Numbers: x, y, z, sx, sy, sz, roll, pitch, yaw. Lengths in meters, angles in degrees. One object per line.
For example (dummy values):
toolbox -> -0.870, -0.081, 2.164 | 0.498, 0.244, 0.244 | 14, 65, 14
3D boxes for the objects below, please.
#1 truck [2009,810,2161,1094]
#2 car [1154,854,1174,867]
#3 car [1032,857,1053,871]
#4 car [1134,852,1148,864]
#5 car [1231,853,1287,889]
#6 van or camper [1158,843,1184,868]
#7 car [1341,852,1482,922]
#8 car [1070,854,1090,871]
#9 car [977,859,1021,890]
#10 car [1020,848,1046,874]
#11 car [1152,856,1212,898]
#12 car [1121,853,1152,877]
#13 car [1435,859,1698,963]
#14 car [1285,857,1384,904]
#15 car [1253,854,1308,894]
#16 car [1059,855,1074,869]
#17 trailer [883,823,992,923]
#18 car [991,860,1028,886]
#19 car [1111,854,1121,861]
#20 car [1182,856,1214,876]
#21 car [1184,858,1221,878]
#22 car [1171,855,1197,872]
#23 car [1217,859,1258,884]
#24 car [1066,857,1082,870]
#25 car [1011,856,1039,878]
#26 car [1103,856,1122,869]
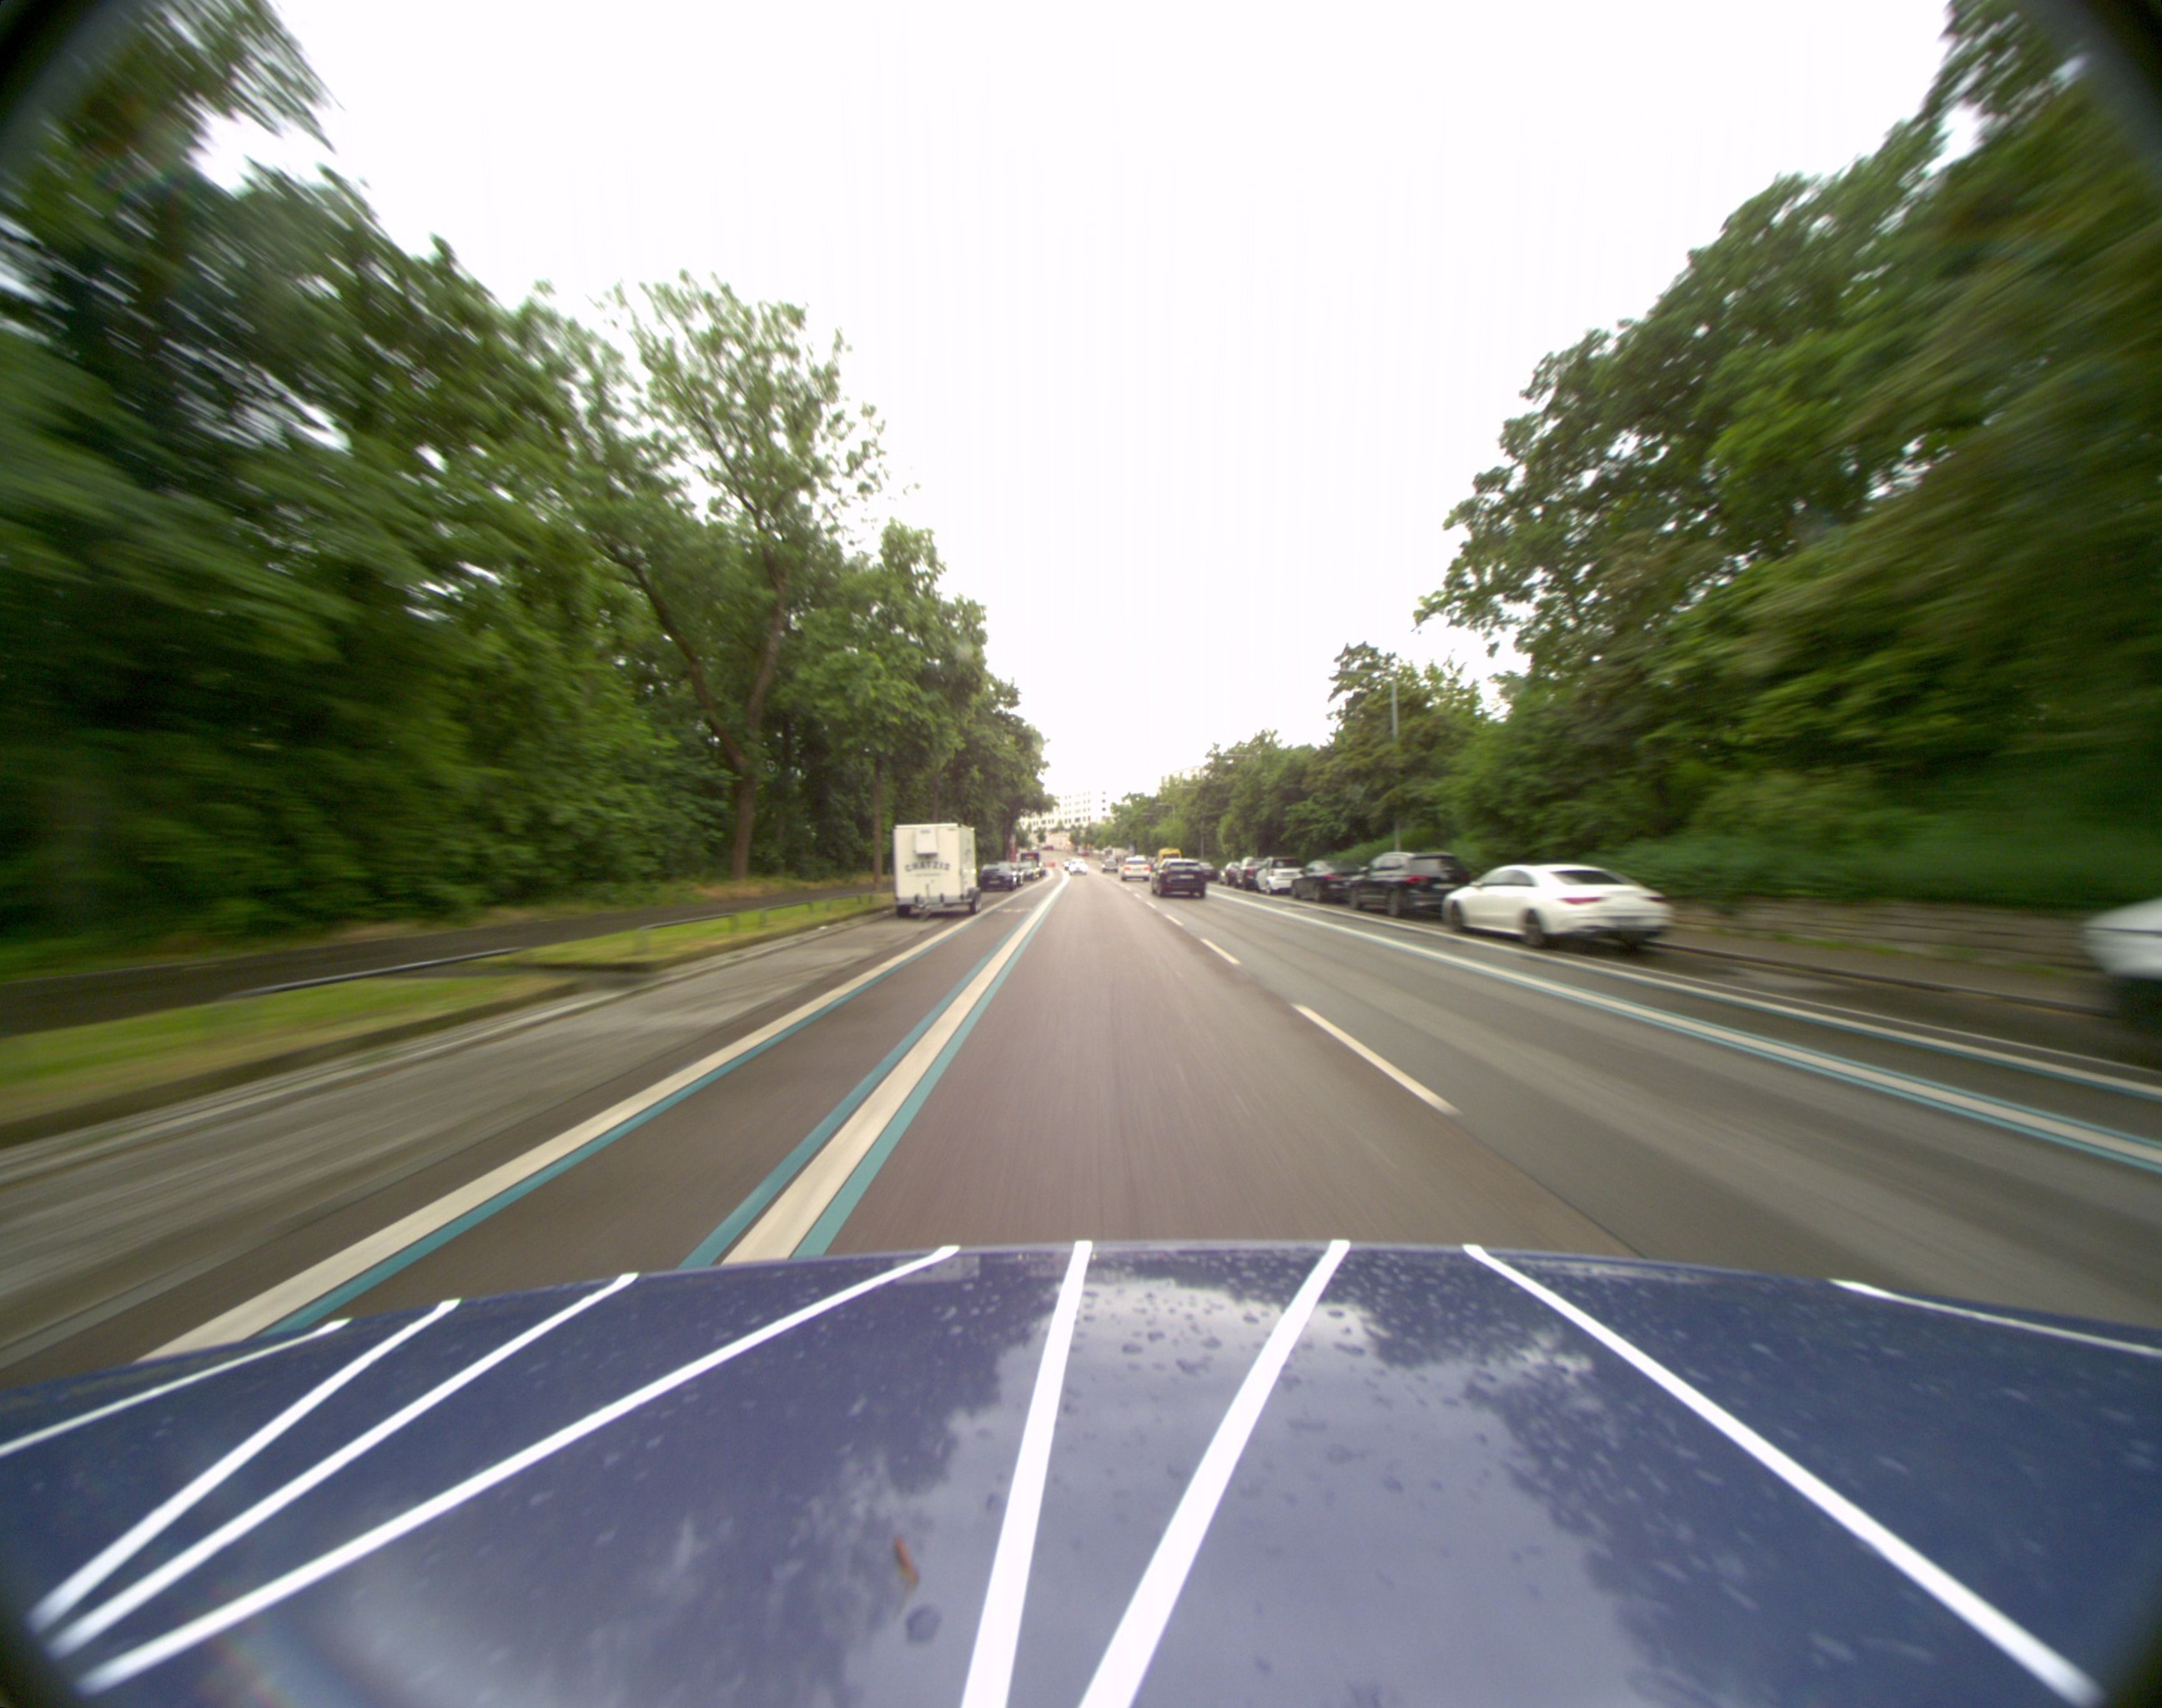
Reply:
truck -> 8.711, 0.675, 3.659 | 2.099, 2.002, 5.158 | -1, 0, -2
car -> 9.208, 0.711, 84.791 | 1.825, 1.427, 3.558 | -1, 0, 0
car -> -3.981, 1.018, 79.001 | 1.862, 1.361, 3.999 | -2, 1, 0
car -> 9.030, 0.576, 113.702 | 1.825, 1.650, 3.558 | -1, 0, 0
car -> 8.483, 0.773, 36.454 | 1.819, 1.579, 3.992 | -1, 0, 1
van or camper -> 9.200, 0.179, 77.869 | 2.165, 2.437, 4.436 | -1, 0, 0
car -> 8.694, 0.802, 20.481 | 1.740, 1.651, 4.673 | -1, 0, -1
car -> -0.087, 0.823, 77.528 | 1.998, 1.589, 4.000 | -2, 0, 0
car -> -4.111, 1.012, 38.821 | 1.804, 1.455, 4.000 | -1, 0, 0
car -> -4.366, 0.588, 69.368 | 1.998, 2.231, 3.999 | -2, 1, 0
car -> 3.888, 0.828, 29.860 | 1.769, 1.449, 4.496 | 1, 1, 1
car -> 3.743, 0.744, 52.065 | 1.790, 1.570, 4.258 | 0, 0, 0
car -> 8.495, 0.889, 13.953 | 1.811, 1.489, 4.752 | 0, 1, 0
car -> 8.750, 0.869, 26.651 | 1.901, 1.466, 4.553 | -1, 0, -1
car -> 8.402, 0.810, 32.177 | 1.527, 1.584, 2.860 | 0, 0, -1
car -> -1.818, 0.984, 99.093 | 1.850, 1.719, 3.730 | -1, 0, 0
trailer -> -3.958, 0.492, 21.701 | 2.284, 2.550, 4.000 | -1, 0, 0
car -> -4.171, 1.087, 44.879 | 1.804, 1.370, 4.000 | -1, 0, 0
car -> 7.132, 0.646, 154.323 | 1.825, 1.427, 3.558 | 1, 0, 0
car -> 8.765, 0.853, 57.056 | 1.825, 1.427, 3.773 | -1, 0, 0
car -> 8.304, 0.915, 52.220 | 1.825, 1.285, 4.206 | -1, 0, 0
car -> 9.177, 0.801, 67.761 | 1.825, 1.470, 3.558 | 0, 0, 0
car -> 8.556, 0.921, 41.766 | 1.514, 1.285, 3.597 | -1, 0, 0
car -> -0.933, 1.180, 98.556 | 1.998, 1.629, 4.000 | 0, 1, 1
car -> -4.173, 0.950, 57.227 | 1.804, 1.589, 4.000 | -1, 0, 0
car -> 3.483, 0.919, 84.663 | 1.805, 1.394, 3.999 | -1, 0, -3
